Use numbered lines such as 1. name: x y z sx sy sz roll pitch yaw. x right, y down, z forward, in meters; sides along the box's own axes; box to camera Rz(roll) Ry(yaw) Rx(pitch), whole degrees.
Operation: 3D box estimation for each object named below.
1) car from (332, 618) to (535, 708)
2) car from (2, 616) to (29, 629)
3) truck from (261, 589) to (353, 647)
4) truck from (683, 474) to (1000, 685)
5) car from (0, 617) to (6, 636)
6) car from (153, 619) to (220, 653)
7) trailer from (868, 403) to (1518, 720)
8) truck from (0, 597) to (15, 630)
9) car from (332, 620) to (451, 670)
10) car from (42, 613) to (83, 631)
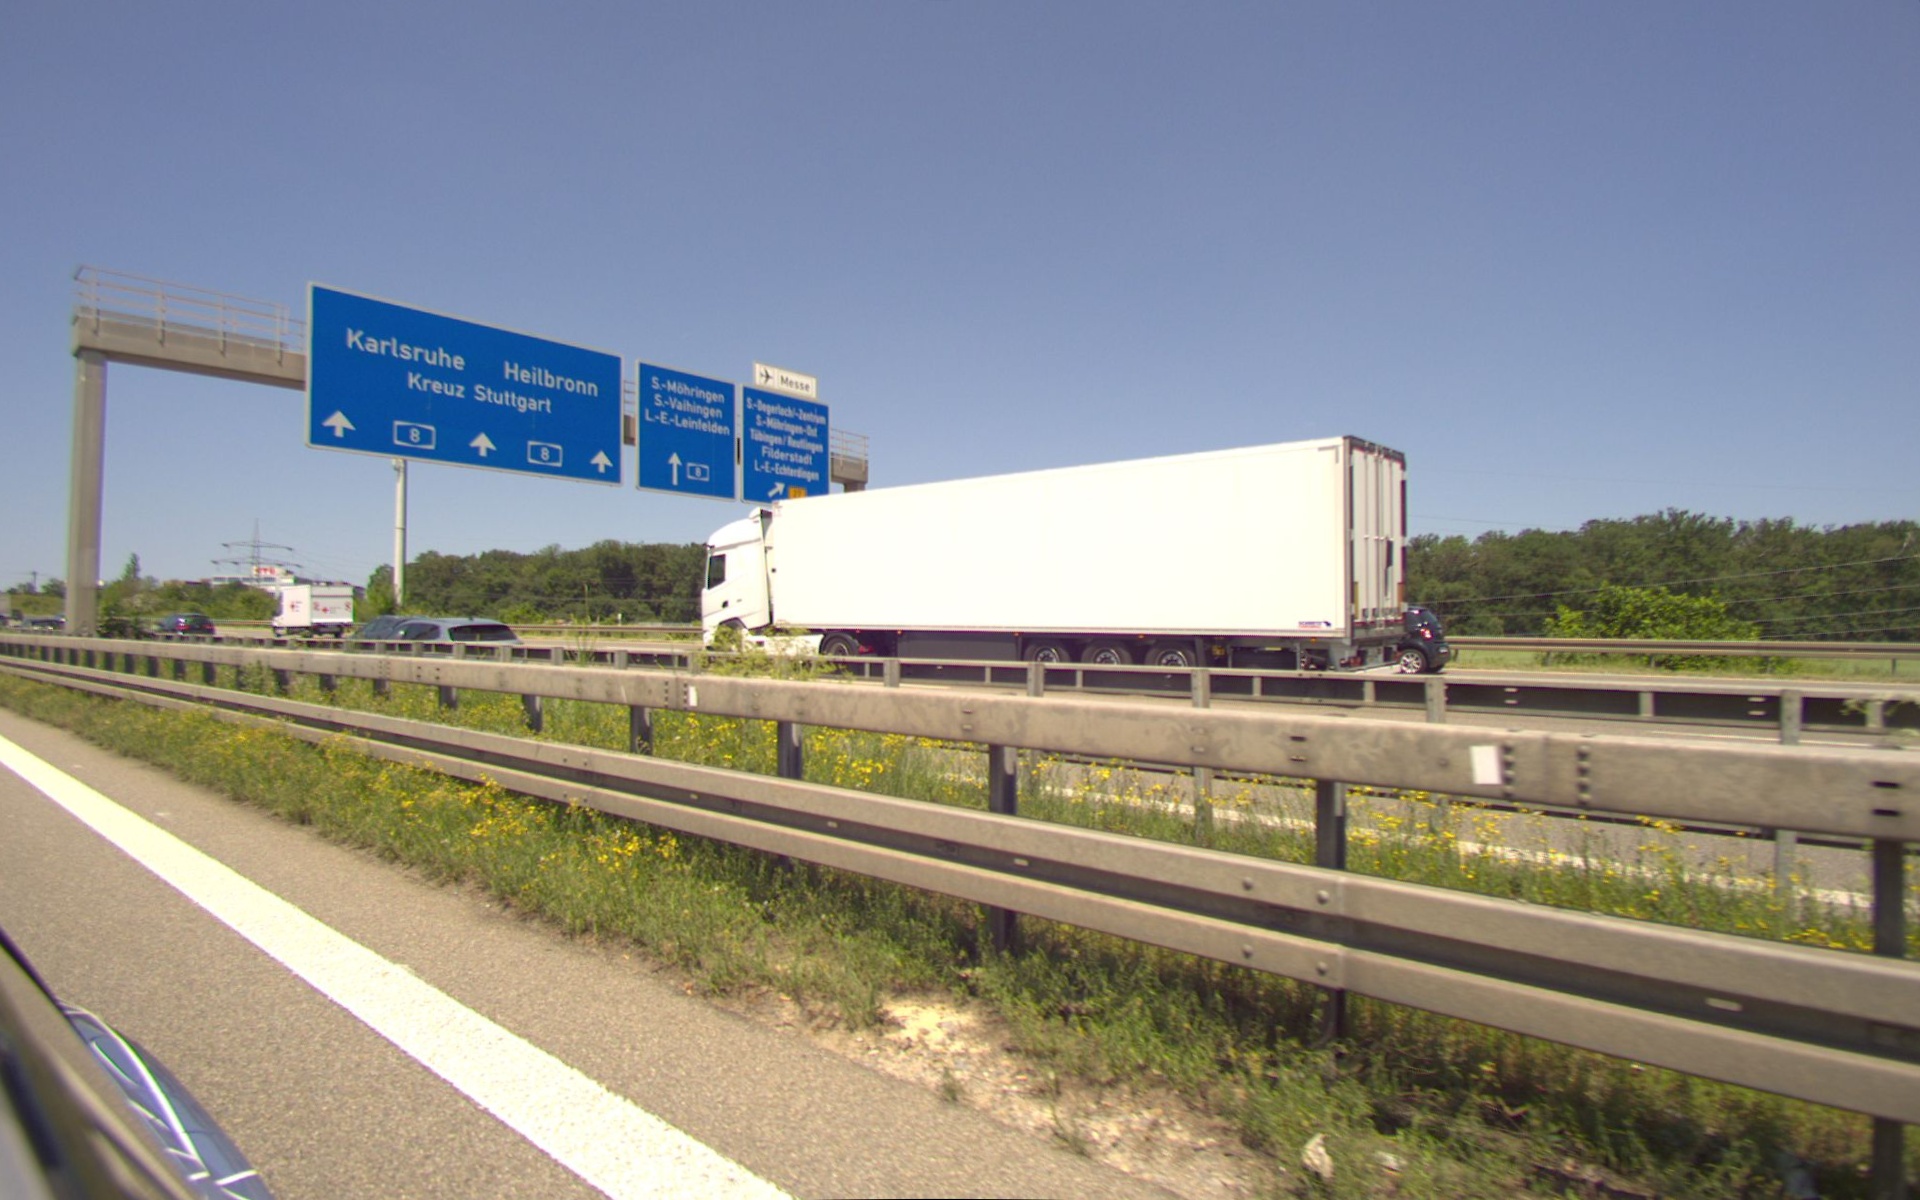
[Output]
1. car: -10.822 1.199 20.616 5.350 1.600 1.714 -2 -1 39
2. car: -118.839 2.802 127.293 4.216 1.543 1.830 -1 -1 37
3. truck: -38.274 1.073 59.162 8.107 3.191 2.296 -1 -2 40
4. truck: -3.039 -0.333 24.092 7.689 4.241 3.214 -2 -2 41
5. car: -77.375 2.105 80.388 4.855 1.475 1.772 -1 -2 40
6. car: -37.284 1.731 48.745 3.997 1.573 1.725 -1 -2 40
7. trailer: 3.439 -0.464 18.448 11.403 4.224 3.189 -1 -1 41
8. truck: -96.676 1.324 101.007 7.650 3.302 2.353 0 -1 38
9. car: -18.648 1.432 33.115 5.098 1.520 1.725 -1 -2 40
10. car: -71.526 1.752 80.662 3.997 1.431 1.886 -1 -2 40
